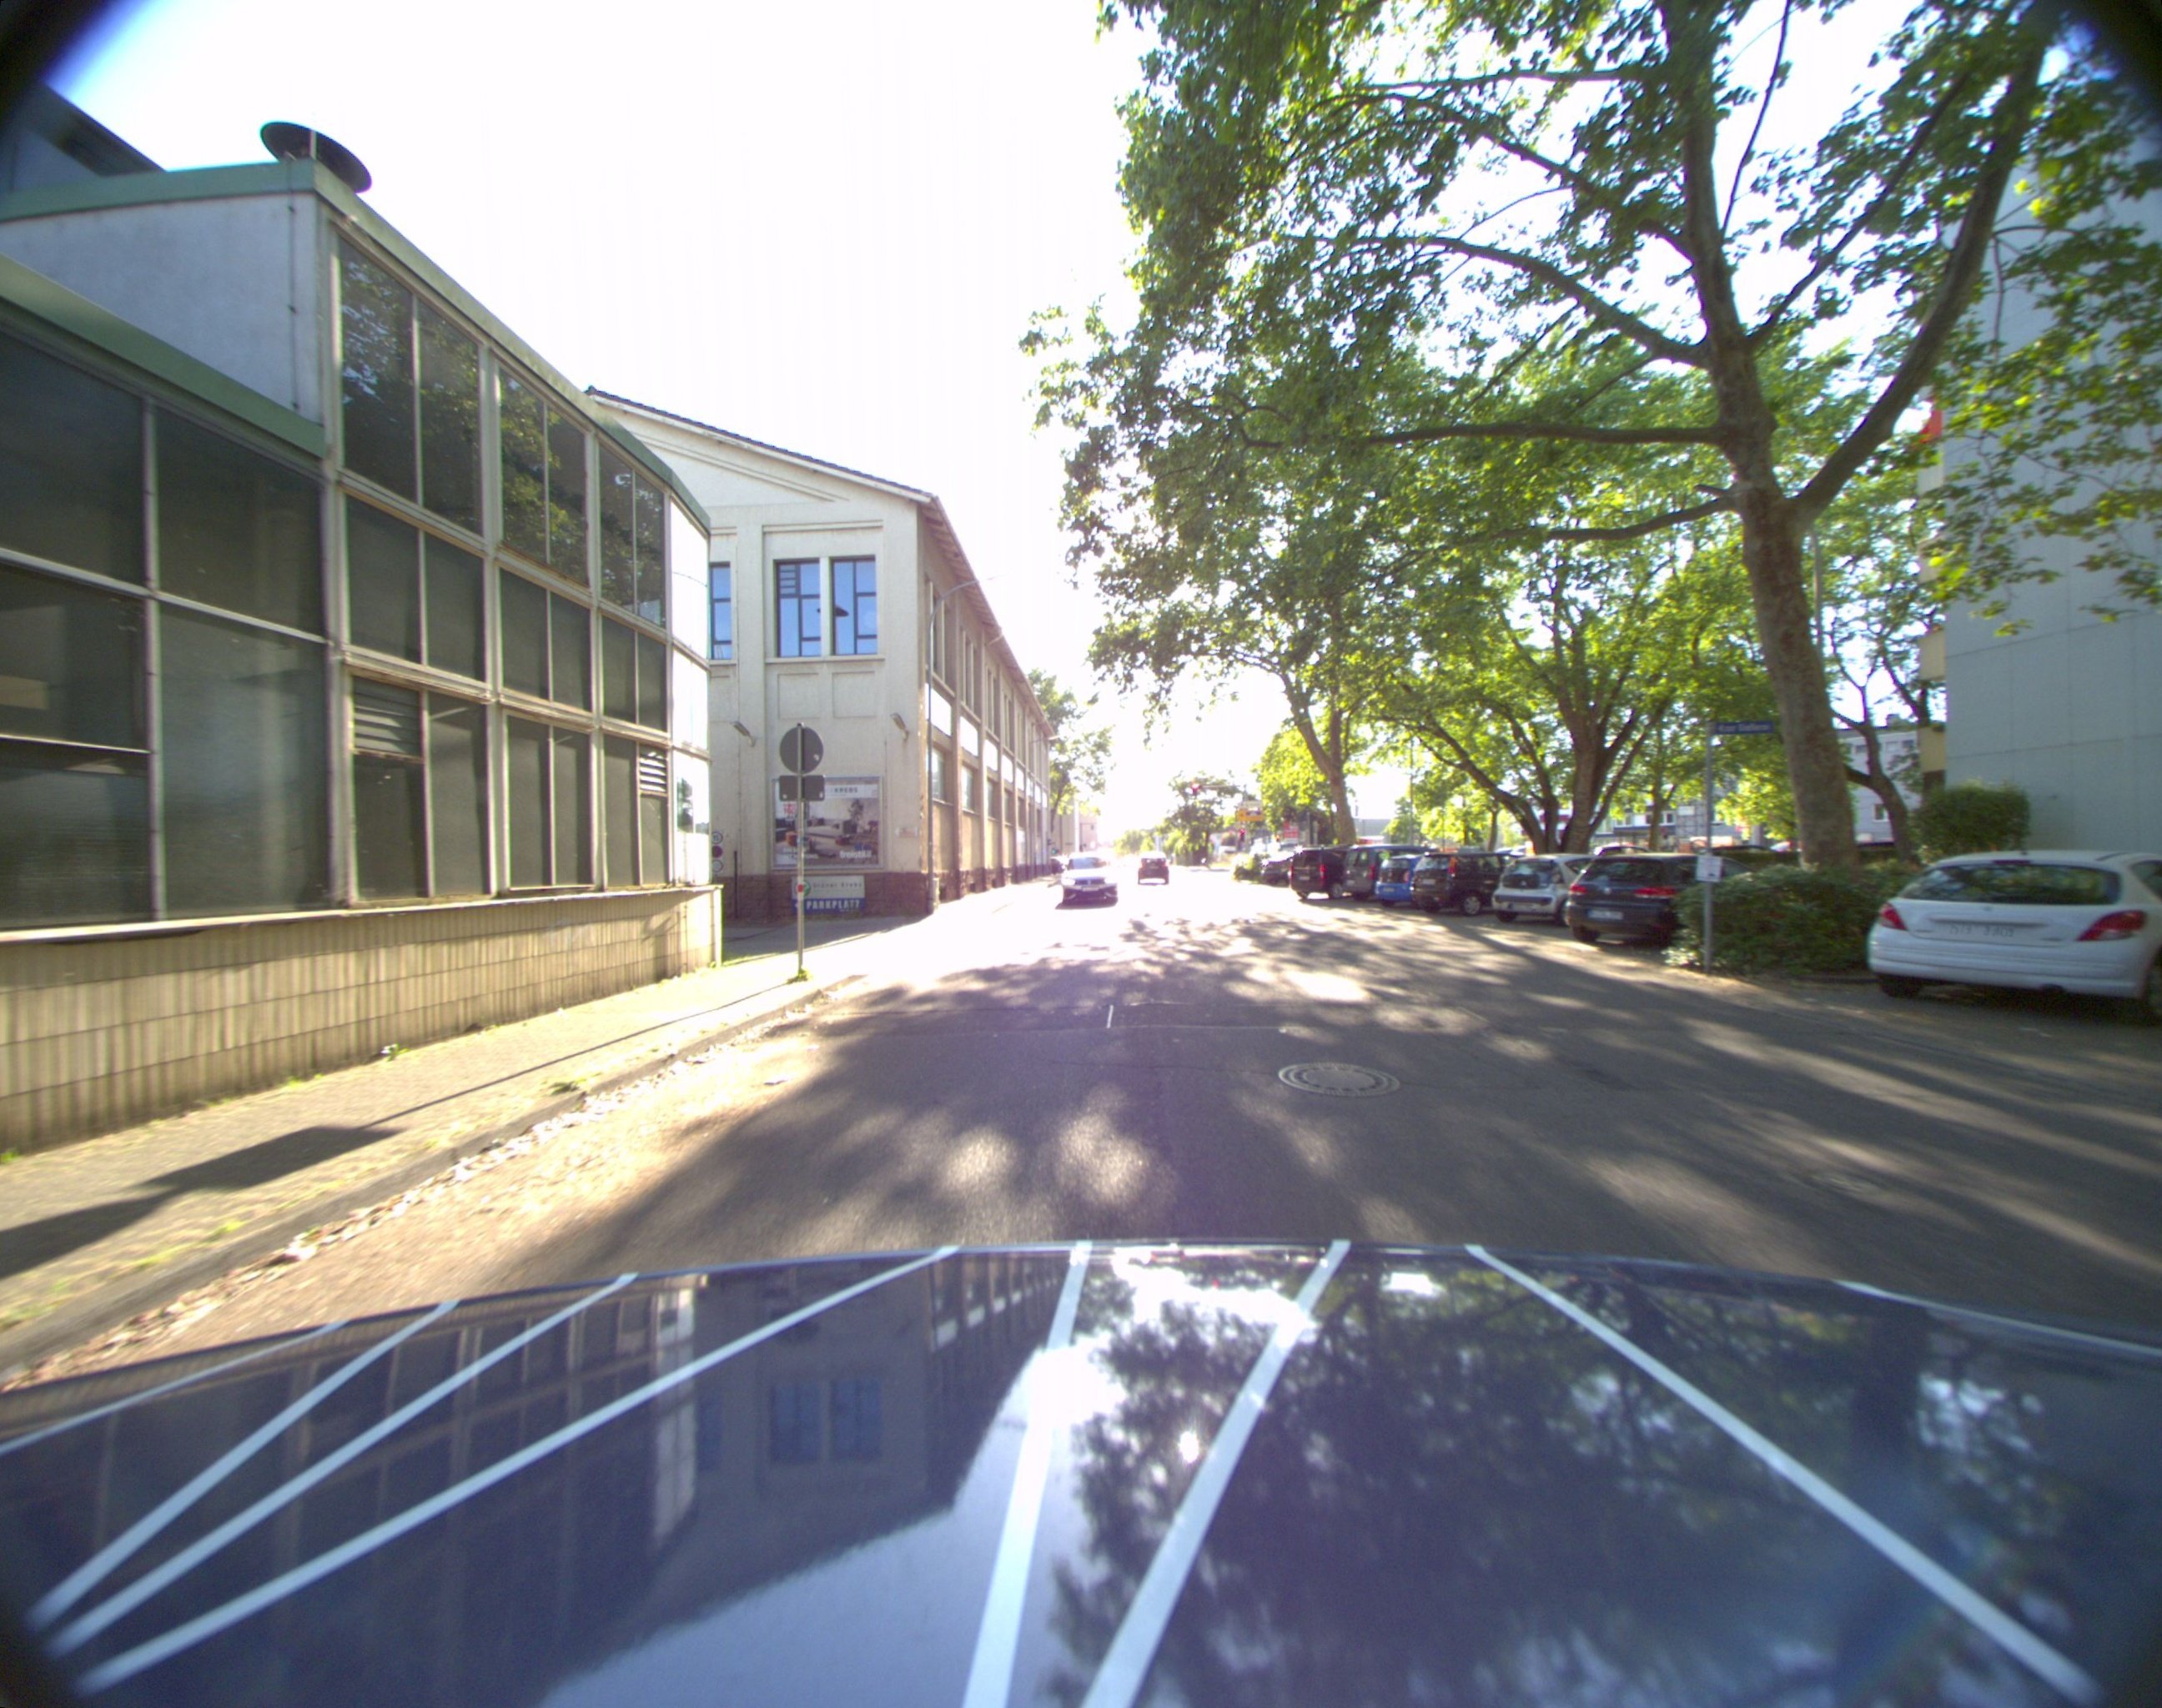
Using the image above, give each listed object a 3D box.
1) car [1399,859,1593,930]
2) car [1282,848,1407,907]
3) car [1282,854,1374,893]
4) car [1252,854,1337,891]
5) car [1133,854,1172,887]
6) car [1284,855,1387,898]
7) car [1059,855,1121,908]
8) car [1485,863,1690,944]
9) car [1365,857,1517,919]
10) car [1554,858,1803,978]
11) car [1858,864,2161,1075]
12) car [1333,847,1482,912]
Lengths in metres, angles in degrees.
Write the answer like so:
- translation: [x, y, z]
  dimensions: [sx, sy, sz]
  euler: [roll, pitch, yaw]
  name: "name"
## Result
- translation: [10.205, 0.940, 18.793]
  dimensions: [4.001, 1.615, 1.796]
  euler: [0, 0, -11]
  name: "car"
- translation: [9.221, 0.786, 26.594]
  dimensions: [4.004, 1.875, 1.714]
  euler: [-1, 1, -23]
  name: "car"
- translation: [11.270, 0.856, 34.651]
  dimensions: [4.006, 1.633, 1.713]
  euler: [-1, 1, -28]
  name: "car"
- translation: [10.543, 0.865, 37.424]
  dimensions: [4.006, 1.633, 1.713]
  euler: [-1, 1, -31]
  name: "car"
- translation: [3.898, 0.868, 42.002]
  dimensions: [1.964, 1.633, 4.001]
  euler: [-1, 0, 3]
  name: "car"
- translation: [10.626, 0.883, 31.717]
  dimensions: [4.005, 1.633, 1.713]
  euler: [-1, 1, -26]
  name: "car"
- translation: [0.308, 0.857, 25.419]
  dimensions: [1.854, 1.527, 3.857]
  euler: [-2, 0, 1]
  name: "car"
- translation: [10.688, 0.979, 16.092]
  dimensions: [3.653, 1.453, 1.703]
  euler: [-1, 1, -18]
  name: "car"
- translation: [9.995, 0.904, 21.148]
  dimensions: [3.602, 1.551, 1.648]
  euler: [-1, 1, -15]
  name: "car"
- translation: [9.780, 0.939, 12.450]
  dimensions: [3.654, 1.652, 1.647]
  euler: [-1, 1, -23]
  name: "car"
- translation: [9.698, 0.926, 7.462]
  dimensions: [3.654, 1.551, 1.706]
  euler: [-1, 1, -24]
  name: "car"
- translation: [10.263, 0.767, 23.988]
  dimensions: [4.001, 1.871, 1.832]
  euler: [-1, 1, -13]
  name: "car"
